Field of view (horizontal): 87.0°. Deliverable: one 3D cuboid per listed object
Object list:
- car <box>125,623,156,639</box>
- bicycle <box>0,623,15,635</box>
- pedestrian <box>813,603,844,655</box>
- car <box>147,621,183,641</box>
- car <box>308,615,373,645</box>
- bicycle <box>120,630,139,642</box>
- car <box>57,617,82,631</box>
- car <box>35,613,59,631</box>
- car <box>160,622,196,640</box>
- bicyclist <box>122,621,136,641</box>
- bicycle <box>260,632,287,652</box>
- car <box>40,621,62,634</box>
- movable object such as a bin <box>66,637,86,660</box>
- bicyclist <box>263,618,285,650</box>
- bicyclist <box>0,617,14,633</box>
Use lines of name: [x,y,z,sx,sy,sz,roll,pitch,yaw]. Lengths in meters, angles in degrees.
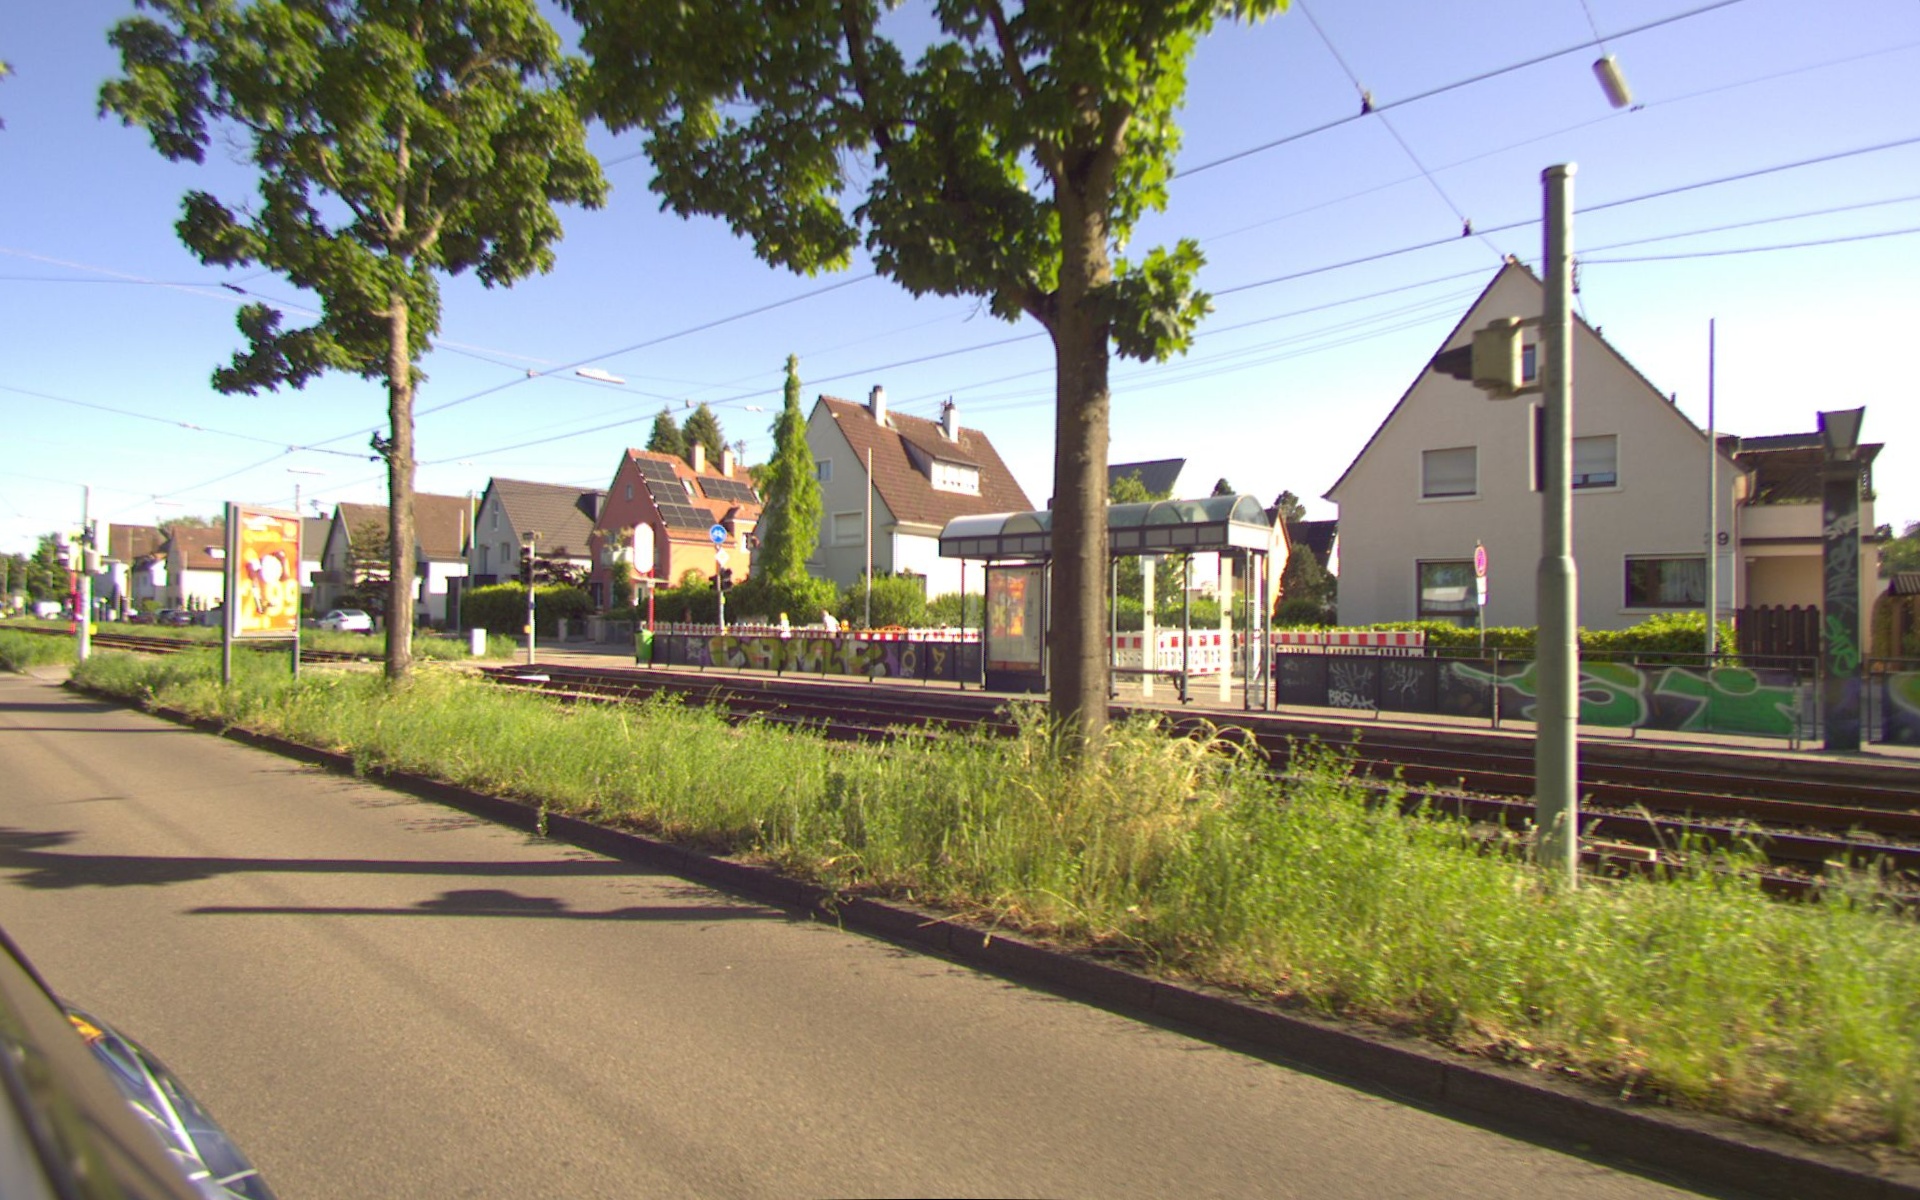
car: [-78.308,2.970,96.713,3.822,1.392,1.733,-1,-1,41]
bicycle: [-135.083,4.087,143.332,3.998,1.506,1.336,-1,-1,41]
pedestrian: [-3.972,0.886,30.665,0.783,1.546,0.813,-1,-3,3]
car: [-69.252,2.660,88.114,4.010,1.609,1.779,-1,-1,41]
car: [-36.593,1.751,59.749,4.837,1.691,1.973,-1,-1,41]
bicycle: [-71.183,3.054,86.734,2.308,0.958,0.843,-1,-1,41]
car: [-106.803,2.873,121.420,3.998,1.517,1.768,-1,-1,42]
car: [-120.756,2.871,133.883,4.001,2.239,2.104,-1,-1,44]
car: [-66.083,2.608,85.532,3.754,1.501,1.716,-1,-1,41]
bicyclist: [-71.154,2.641,86.672,0.837,1.687,0.842,-1,-1,42]
bicycle: [-41.802,2.564,61.628,2.308,1.143,0.843,-1,-1,41]
car: [-117.215,3.541,130.480,4.001,1.517,1.767,-1,-1,44]
movable object such as a bin: [-23.313,1.283,26.689,0.381,0.587,0.380,3,-2,-40]
bicyclist: [-41.769,2.037,61.601,1.071,1.901,0.843,-1,-1,41]
bicyclist: [-134.815,3.492,143.112,1.622,2.250,1.293,-1,-1,41]
